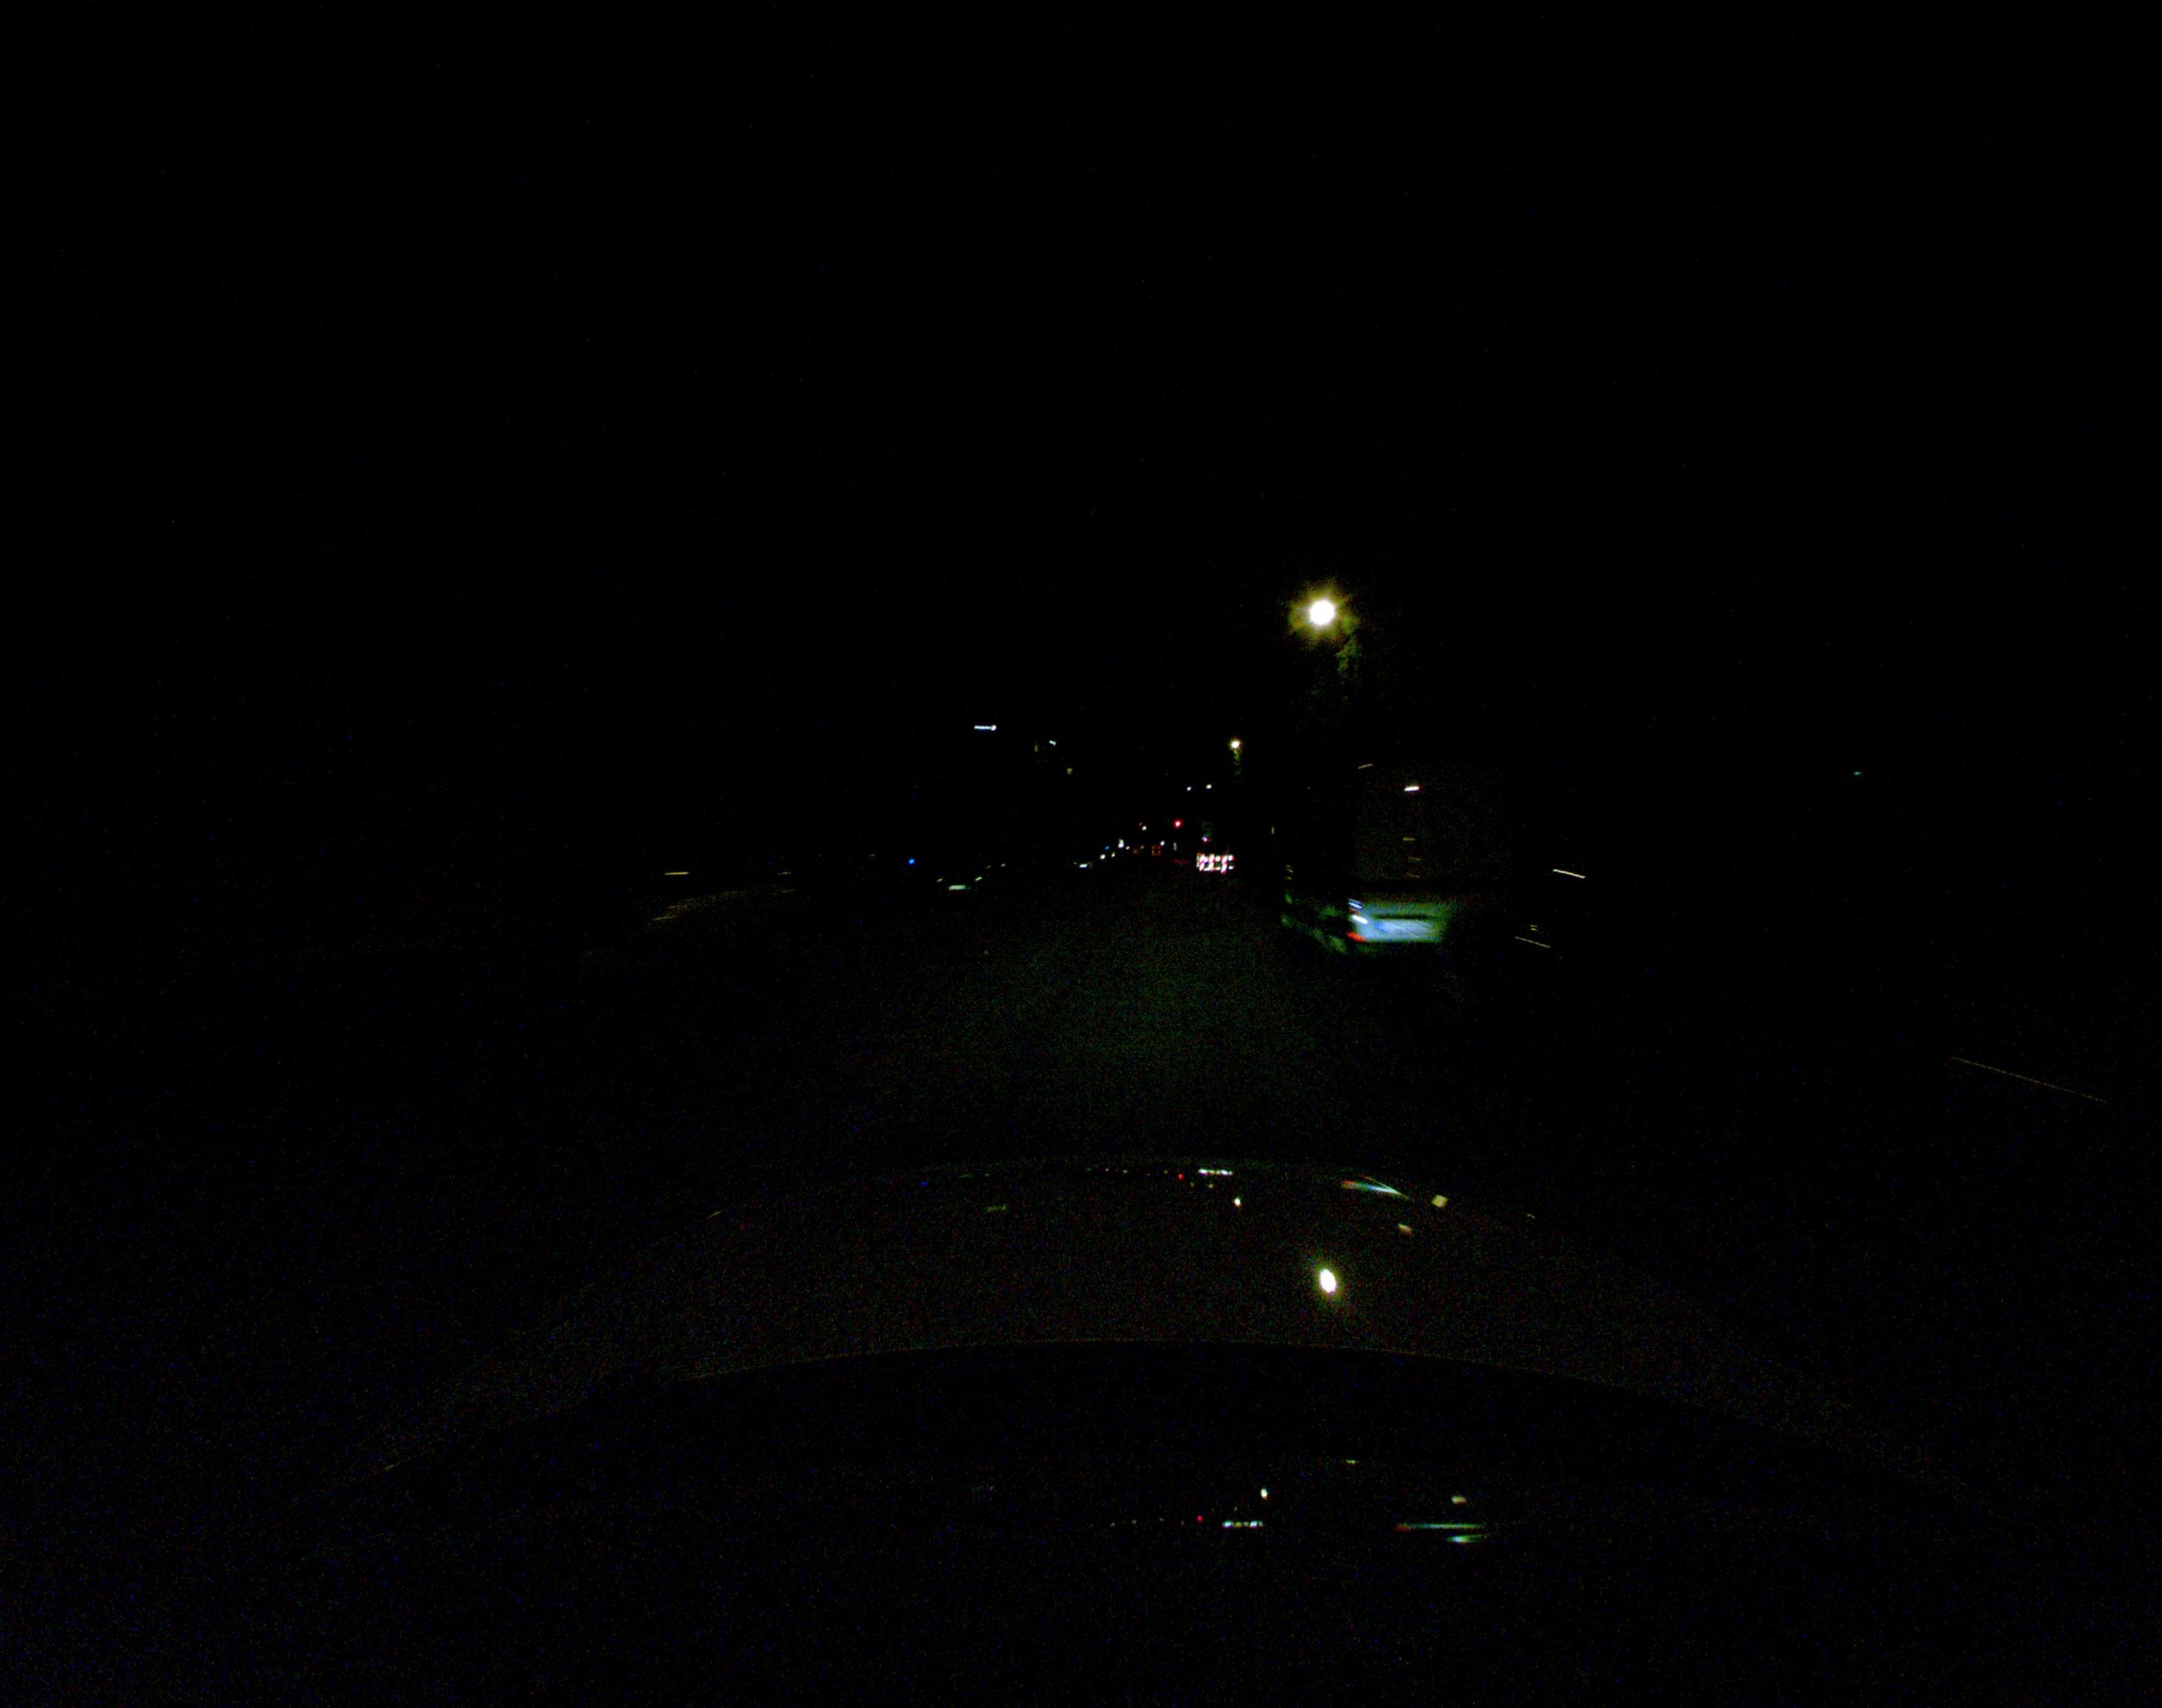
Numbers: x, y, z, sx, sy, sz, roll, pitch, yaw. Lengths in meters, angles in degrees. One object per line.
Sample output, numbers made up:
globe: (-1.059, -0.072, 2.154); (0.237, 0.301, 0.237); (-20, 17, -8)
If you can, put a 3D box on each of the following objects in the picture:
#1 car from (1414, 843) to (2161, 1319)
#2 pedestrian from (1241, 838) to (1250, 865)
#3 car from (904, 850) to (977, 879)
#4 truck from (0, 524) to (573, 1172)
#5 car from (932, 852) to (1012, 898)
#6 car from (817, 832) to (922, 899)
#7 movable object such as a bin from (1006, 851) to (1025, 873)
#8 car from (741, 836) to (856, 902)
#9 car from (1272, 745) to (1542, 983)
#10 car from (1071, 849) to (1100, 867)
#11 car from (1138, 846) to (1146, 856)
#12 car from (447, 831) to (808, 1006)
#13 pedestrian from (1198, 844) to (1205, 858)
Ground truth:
car: (3.762, 0.724, 4.960); (1.704, 1.508, 4.643); (-2, 0, 2)
pedestrian: (11.696, -0.182, 57.903); (0.567, 1.852, 0.822); (-2, 0, 7)
car: (-8.510, 0.634, 49.553); (3.967, 1.571, 1.820); (-3, 0, 6)
truck: (-6.702, -0.009, 4.663); (2.532, 3.280, 7.320); (-2, 0, 4)
car: (-3.851, 0.704, 29.522); (1.745, 1.526, 4.332); (-1, 0, 8)
car: (-8.200, 0.391, 32.185); (1.981, 2.321, 4.981); (-4, 0, 10)
movable object such as a bin: (-4.568, 0.550, 56.871); (1.159, 1.495, 1.067); (-2, 0, 3)
car: (-10.941, 0.518, 32.001); (2.194, 2.321, 4.637); (-2, 0, 10)
car: (4.194, 0.095, 11.752); (2.010, 2.526, 6.061); (-1, 0, 6)
car: (0.440, 0.344, 69.022); (1.901, 1.404, 4.347); (-2, 0, 7)
car: (18.695, -0.953, 249.202); (1.986, 2.974, 4.001); (-2, 0, 1)
car: (-5.681, 0.677, 11.136); (1.820, 1.816, 4.845); (-2, 0, 5)
pedestrian: (18.048, -0.475, 121.903); (0.737, 1.981, 0.623); (-2, 0, -10)
